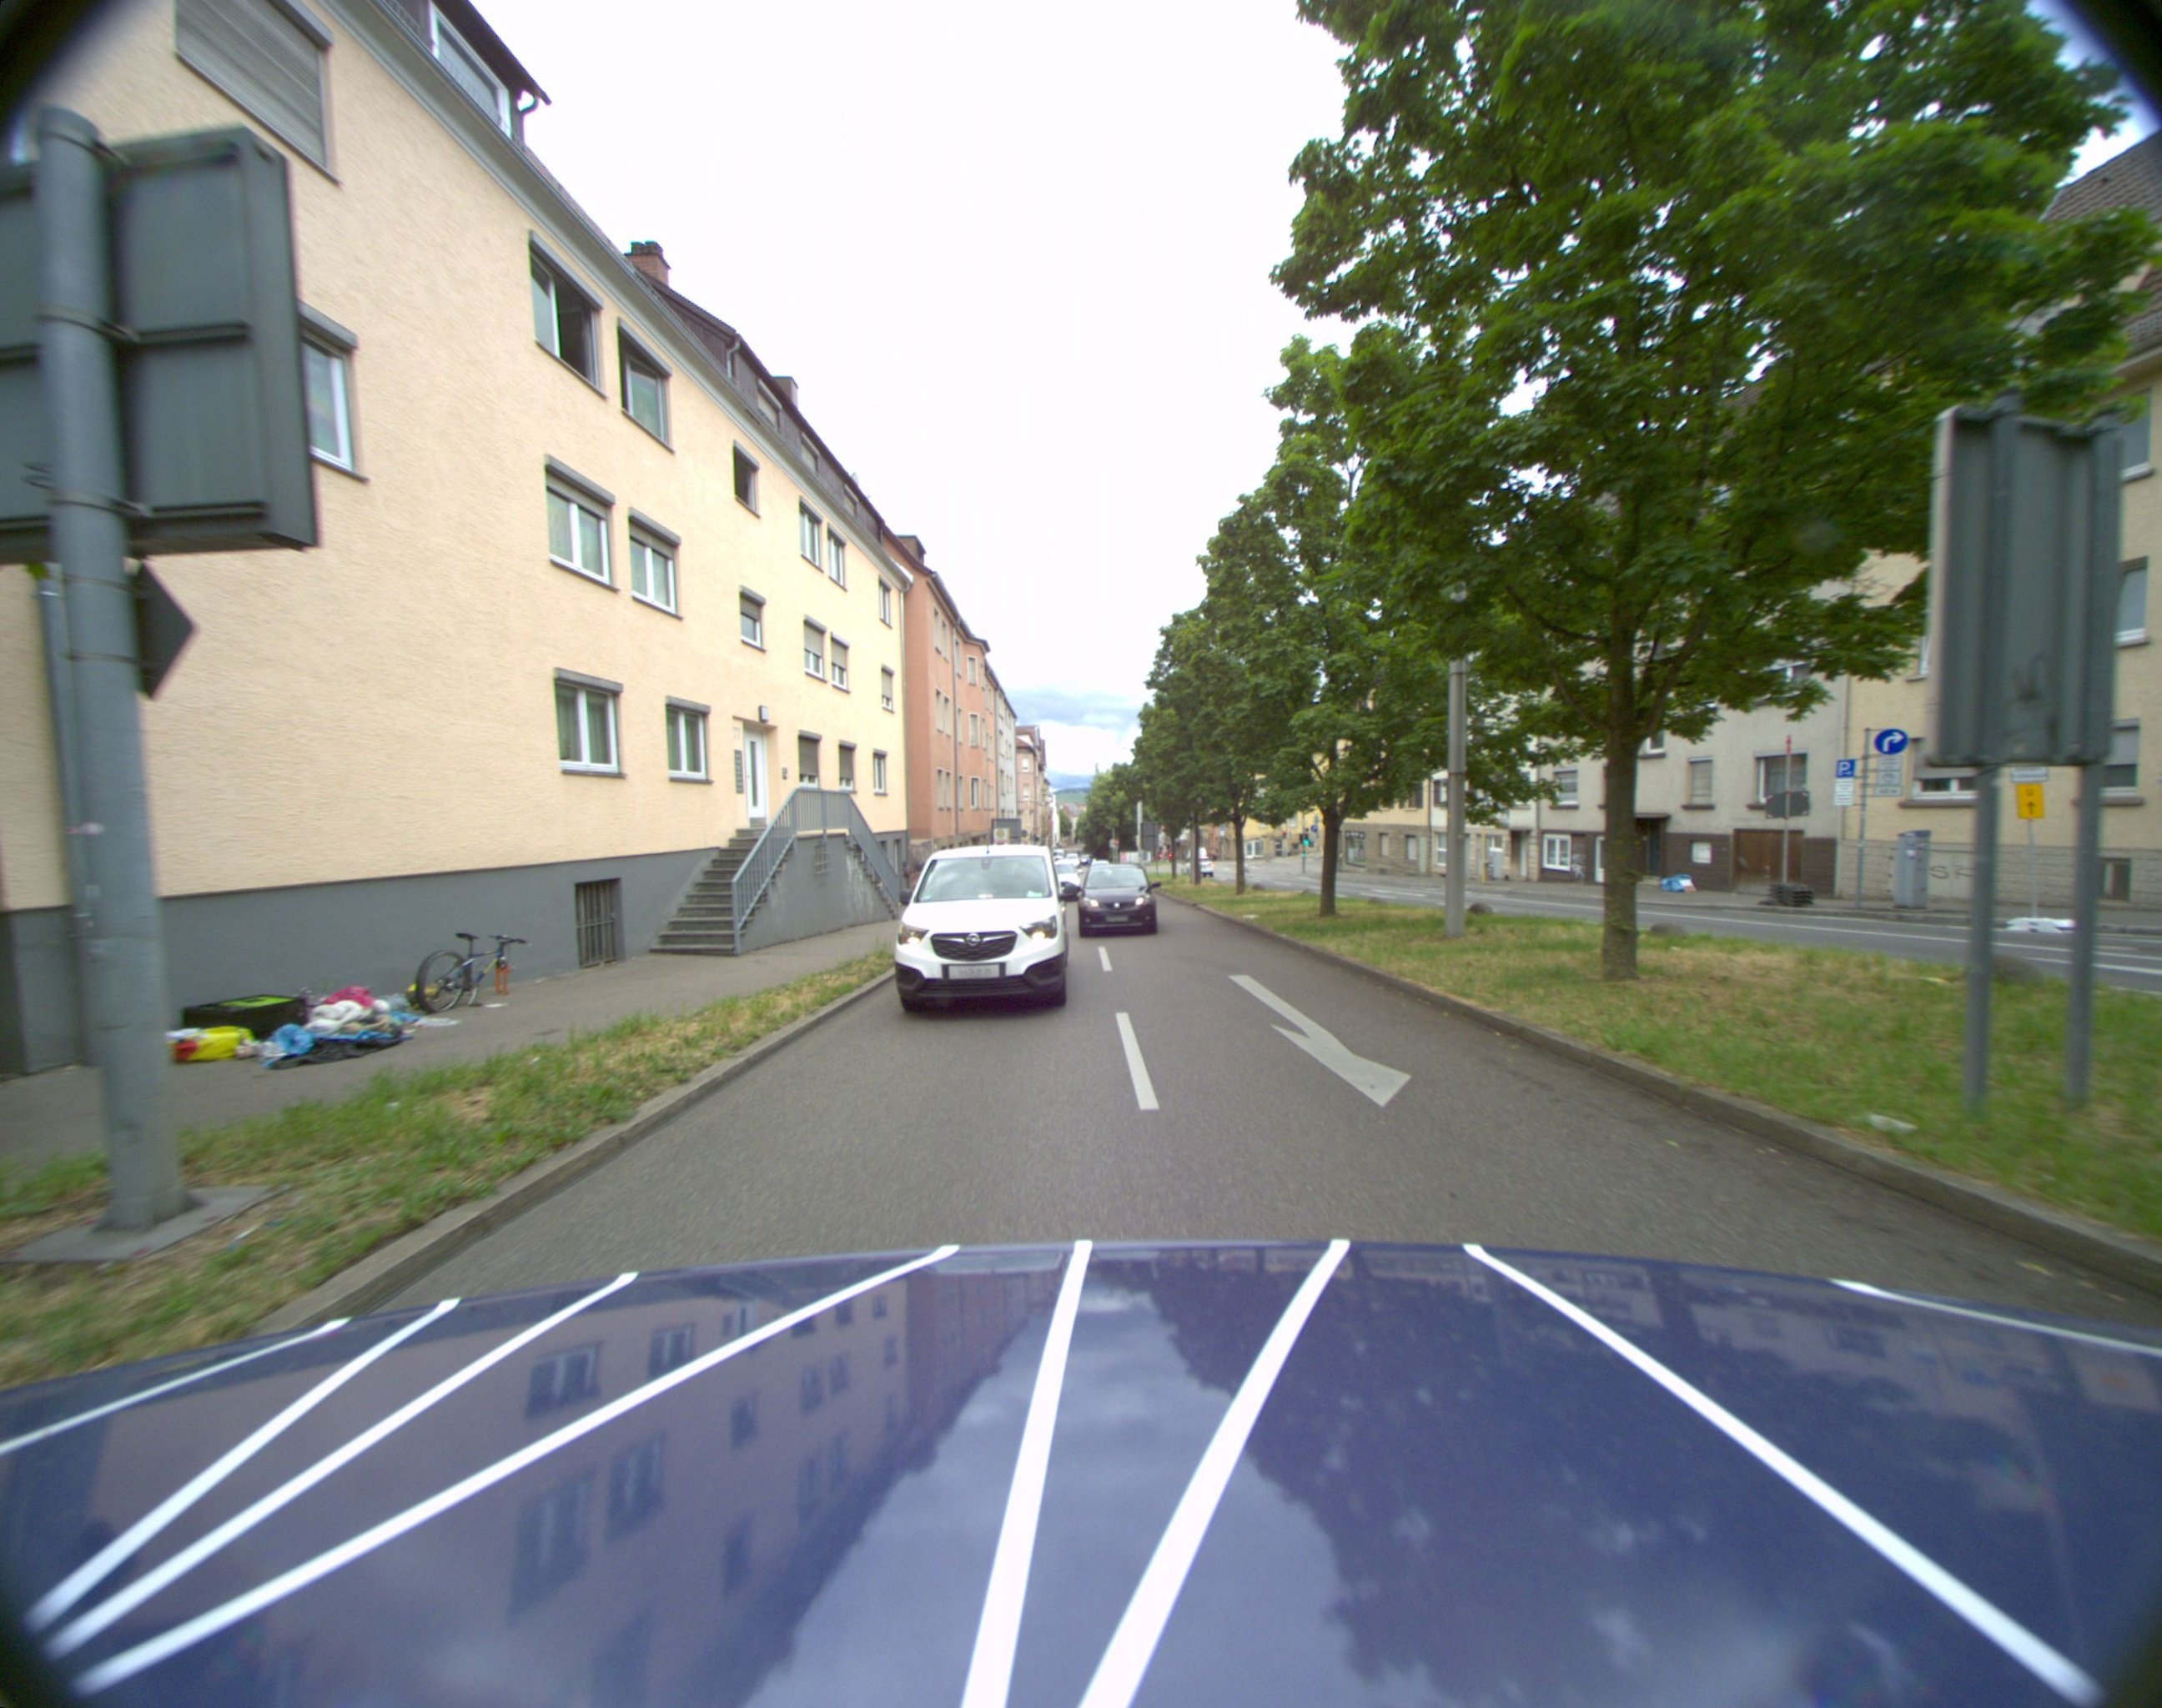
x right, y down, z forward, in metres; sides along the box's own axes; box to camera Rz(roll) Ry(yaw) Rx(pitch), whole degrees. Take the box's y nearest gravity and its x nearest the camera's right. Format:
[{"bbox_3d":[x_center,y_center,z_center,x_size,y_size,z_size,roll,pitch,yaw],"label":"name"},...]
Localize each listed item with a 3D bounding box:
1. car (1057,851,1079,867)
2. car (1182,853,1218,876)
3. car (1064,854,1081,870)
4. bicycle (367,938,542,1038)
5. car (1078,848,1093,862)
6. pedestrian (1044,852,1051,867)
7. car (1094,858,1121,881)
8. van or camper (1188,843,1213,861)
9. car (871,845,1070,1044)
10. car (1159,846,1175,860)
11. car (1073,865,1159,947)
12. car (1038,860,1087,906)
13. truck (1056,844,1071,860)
[{"bbox_3d":[-1.230,0.490,73.368,1.841,1.477,4.000,-1,1,2],"label":"car"},{"bbox_3d":[8.352,0.712,53.540,1.750,1.458,4.585,-1,0,-1],"label":"car"},{"bbox_3d":[-0.947,0.850,85.137,1.784,1.584,3.531,1,2,-2],"label":"car"},{"bbox_3d":[-6.509,1.363,8.003,0.489,0.768,1.558,-1,1,3],"label":"bicycle"},{"bbox_3d":[0.576,0.128,96.649,1.784,1.584,3.531,1,2,-2],"label":"car"},{"bbox_3d":[-3.870,0.642,88.573,0.735,1.638,1.004,-2,1,-2],"label":"pedestrian"},{"bbox_3d":[2.020,1.196,59.204,1.784,1.584,3.531,1,2,-2],"label":"car"},{"bbox_3d":[12.792,-0.230,81.595,1.912,1.751,4.654,-2,0,0],"label":"van or camper"},{"bbox_3d":[-1.080,0.897,9.612,1.789,1.778,4.844,-3,-1,-1],"label":"car"},{"bbox_3d":[12.855,-0.130,113.445,1.884,1.805,4.352,-2,-1,1],"label":"car"},{"bbox_3d":[0.669,1.049,16.871,1.604,1.448,3.683,-3,1,-1],"label":"car"},{"bbox_3d":[-0.735,1.126,31.287,1.780,1.598,4.163,-4,0,-1],"label":"car"},{"bbox_3d":[-3.317,-0.441,145.533,2.552,2.891,7.776,-1,1,1],"label":"truck"}]
